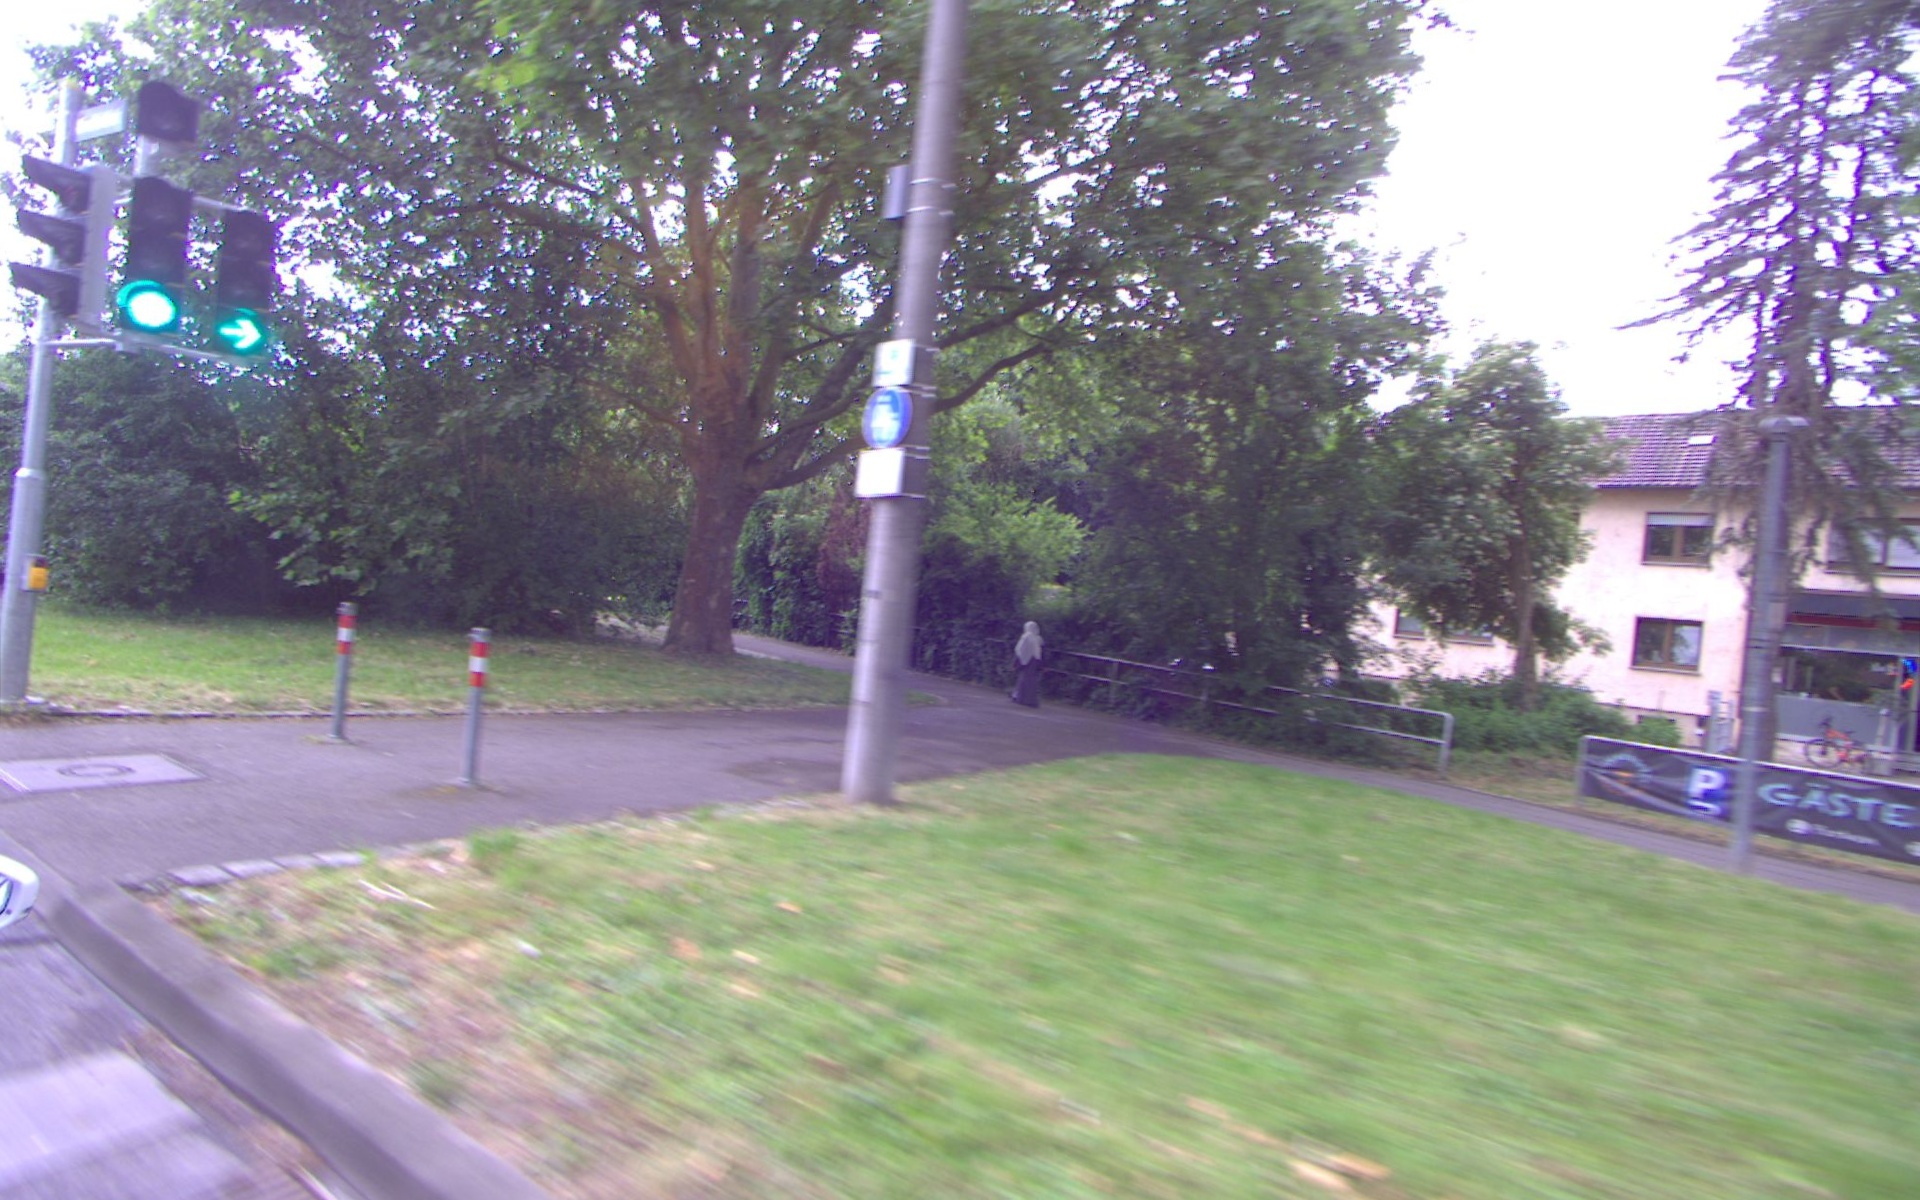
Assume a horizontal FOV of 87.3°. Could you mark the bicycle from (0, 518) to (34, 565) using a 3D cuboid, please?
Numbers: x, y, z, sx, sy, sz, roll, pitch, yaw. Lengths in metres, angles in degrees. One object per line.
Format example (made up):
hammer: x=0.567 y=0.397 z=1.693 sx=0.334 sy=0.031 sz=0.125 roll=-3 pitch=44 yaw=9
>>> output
bicycle: x=-24.420 y=-1.536 z=25.156 sx=1.772 sy=1.124 sz=0.450 roll=7 pitch=-1 yaw=-42

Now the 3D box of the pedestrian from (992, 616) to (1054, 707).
pedestrian: x=1.156 y=1.128 z=18.446 sx=0.731 sy=1.571 sz=0.683 roll=7 pitch=1 yaw=35

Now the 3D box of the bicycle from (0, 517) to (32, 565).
bicycle: x=-23.968 y=-1.506 z=24.599 sx=1.763 sy=1.124 sz=0.423 roll=6 pitch=-1 yaw=-29

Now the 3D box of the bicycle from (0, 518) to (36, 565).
bicycle: x=-24.885 y=-1.555 z=25.698 sx=0.572 sy=1.124 sz=1.775 roll=5 pitch=-1 yaw=43

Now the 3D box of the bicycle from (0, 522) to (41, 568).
bicycle: x=-26.104 y=-1.554 z=27.173 sx=0.546 sy=1.124 sz=1.775 roll=5 pitch=-2 yaw=43

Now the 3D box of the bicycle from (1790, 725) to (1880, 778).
bicycle: x=19.600 y=3.373 z=22.592 sx=0.405 sy=0.887 sz=1.966 roll=6 pitch=0 yaw=6
